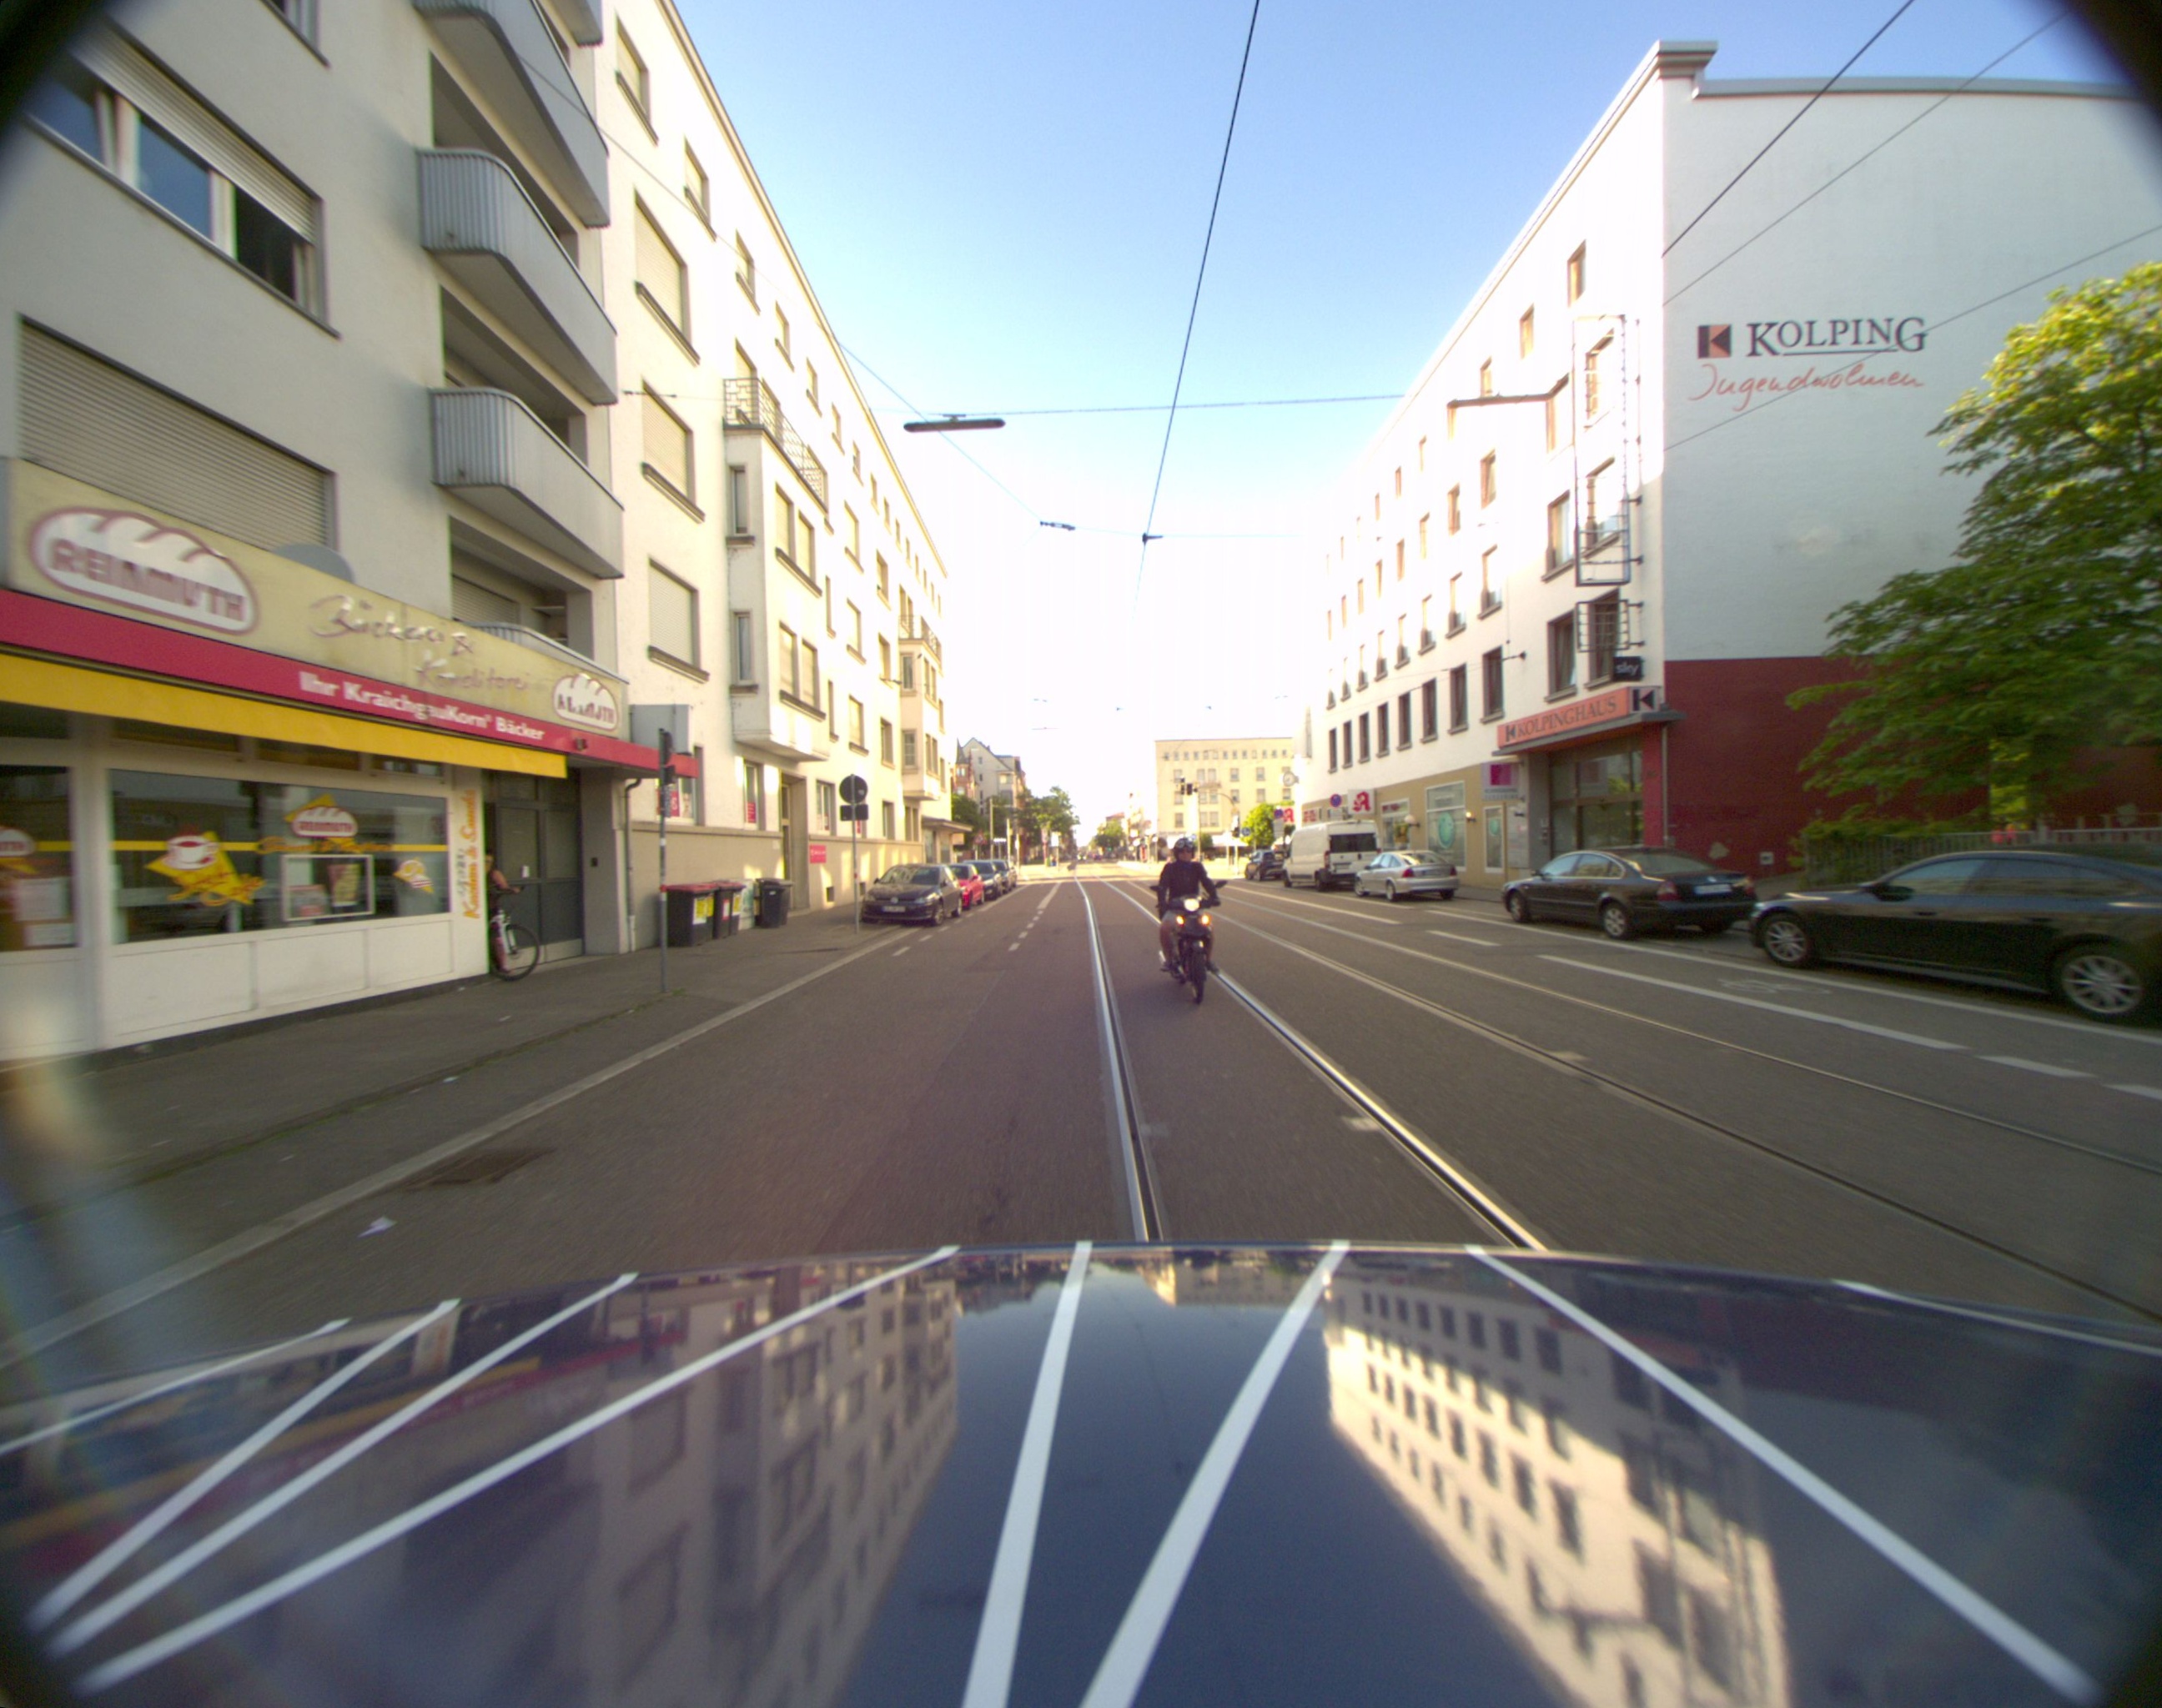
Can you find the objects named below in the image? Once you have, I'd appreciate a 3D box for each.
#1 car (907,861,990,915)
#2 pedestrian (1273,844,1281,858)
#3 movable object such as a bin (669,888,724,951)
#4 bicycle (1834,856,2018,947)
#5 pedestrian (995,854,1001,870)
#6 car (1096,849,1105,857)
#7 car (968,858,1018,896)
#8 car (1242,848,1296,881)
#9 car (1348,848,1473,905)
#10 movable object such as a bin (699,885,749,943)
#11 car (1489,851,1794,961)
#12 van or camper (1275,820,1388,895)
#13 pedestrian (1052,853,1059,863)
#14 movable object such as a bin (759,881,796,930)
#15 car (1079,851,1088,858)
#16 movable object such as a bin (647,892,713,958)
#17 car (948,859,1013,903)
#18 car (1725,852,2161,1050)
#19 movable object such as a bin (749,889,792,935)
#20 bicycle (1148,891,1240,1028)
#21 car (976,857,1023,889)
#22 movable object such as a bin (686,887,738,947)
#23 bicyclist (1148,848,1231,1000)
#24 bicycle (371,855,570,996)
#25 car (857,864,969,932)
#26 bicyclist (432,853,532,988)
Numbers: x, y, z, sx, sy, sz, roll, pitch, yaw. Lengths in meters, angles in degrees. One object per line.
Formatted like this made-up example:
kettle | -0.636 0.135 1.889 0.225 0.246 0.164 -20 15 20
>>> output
car | -4.142 1.024 24.387 1.862 1.464 3.988 1 1 1
pedestrian | 22.636 -0.342 87.919 0.667 1.686 0.839 -2 1 -1
movable object such as a bin | -6.946 1.181 13.742 0.677 1.066 0.569 -2 1 -1
bicycle | 12.268 0.636 11.146 0.440 1.168 2.050 -2 1 1
pedestrian | -10.131 0.926 92.755 0.650 1.944 0.583 -2 1 -16
car | 4.263 -0.205 166.437 1.970 1.577 4.000 -2 0 2
car | -3.889 0.983 34.124 1.862 1.498 4.505 1 1 -2
car | 9.615 0.495 39.123 1.787 1.543 3.992 -3 0 2
car | 9.482 0.579 22.296 1.787 1.390 4.445 -3 0 2
movable object such as a bin | -6.988 1.163 14.908 0.677 1.066 0.569 -2 1 -1
car | 9.310 0.734 13.261 1.788 1.472 4.699 -3 0 0
van or camper | 9.451 0.109 29.358 2.177 2.453 6.231 -3 0 0
pedestrian | -2.928 0.442 86.932 0.774 1.197 0.610 -2 1 -8
movable object such as a bin | -6.815 1.149 17.085 0.560 1.051 0.554 -2 1 -1
car | 0.623 0.018 175.634 1.971 1.577 4.000 -2 0 1
movable object such as a bin | -6.923 1.218 13.140 0.772 1.066 0.617 -2 1 -1
car | -3.843 0.995 29.592 1.862 1.498 4.095 1 1 1
car | 9.320 0.756 7.504 1.787 1.437 4.841 -3 0 1
movable object such as a bin | -6.674 1.238 16.371 0.657 0.911 0.569 -2 1 -1
bicycle | 1.150 1.049 8.092 0.767 1.191 1.752 -1 1 3
car | -4.209 0.936 39.949 1.752 1.498 4.919 1 1 2
movable object such as a bin | -6.947 1.180 14.326 0.677 1.066 0.569 -2 1 -1
bicyclist | 1.143 0.714 8.184 0.774 1.531 0.939 -1 1 3
bicycle | -7.902 0.900 9.887 1.935 1.701 0.775 -2 1 3
car | -4.050 1.011 19.069 1.714 1.399 4.358 1 1 1
bicyclist | -7.799 0.850 9.915 0.844 1.692 0.510 -2 1 4
